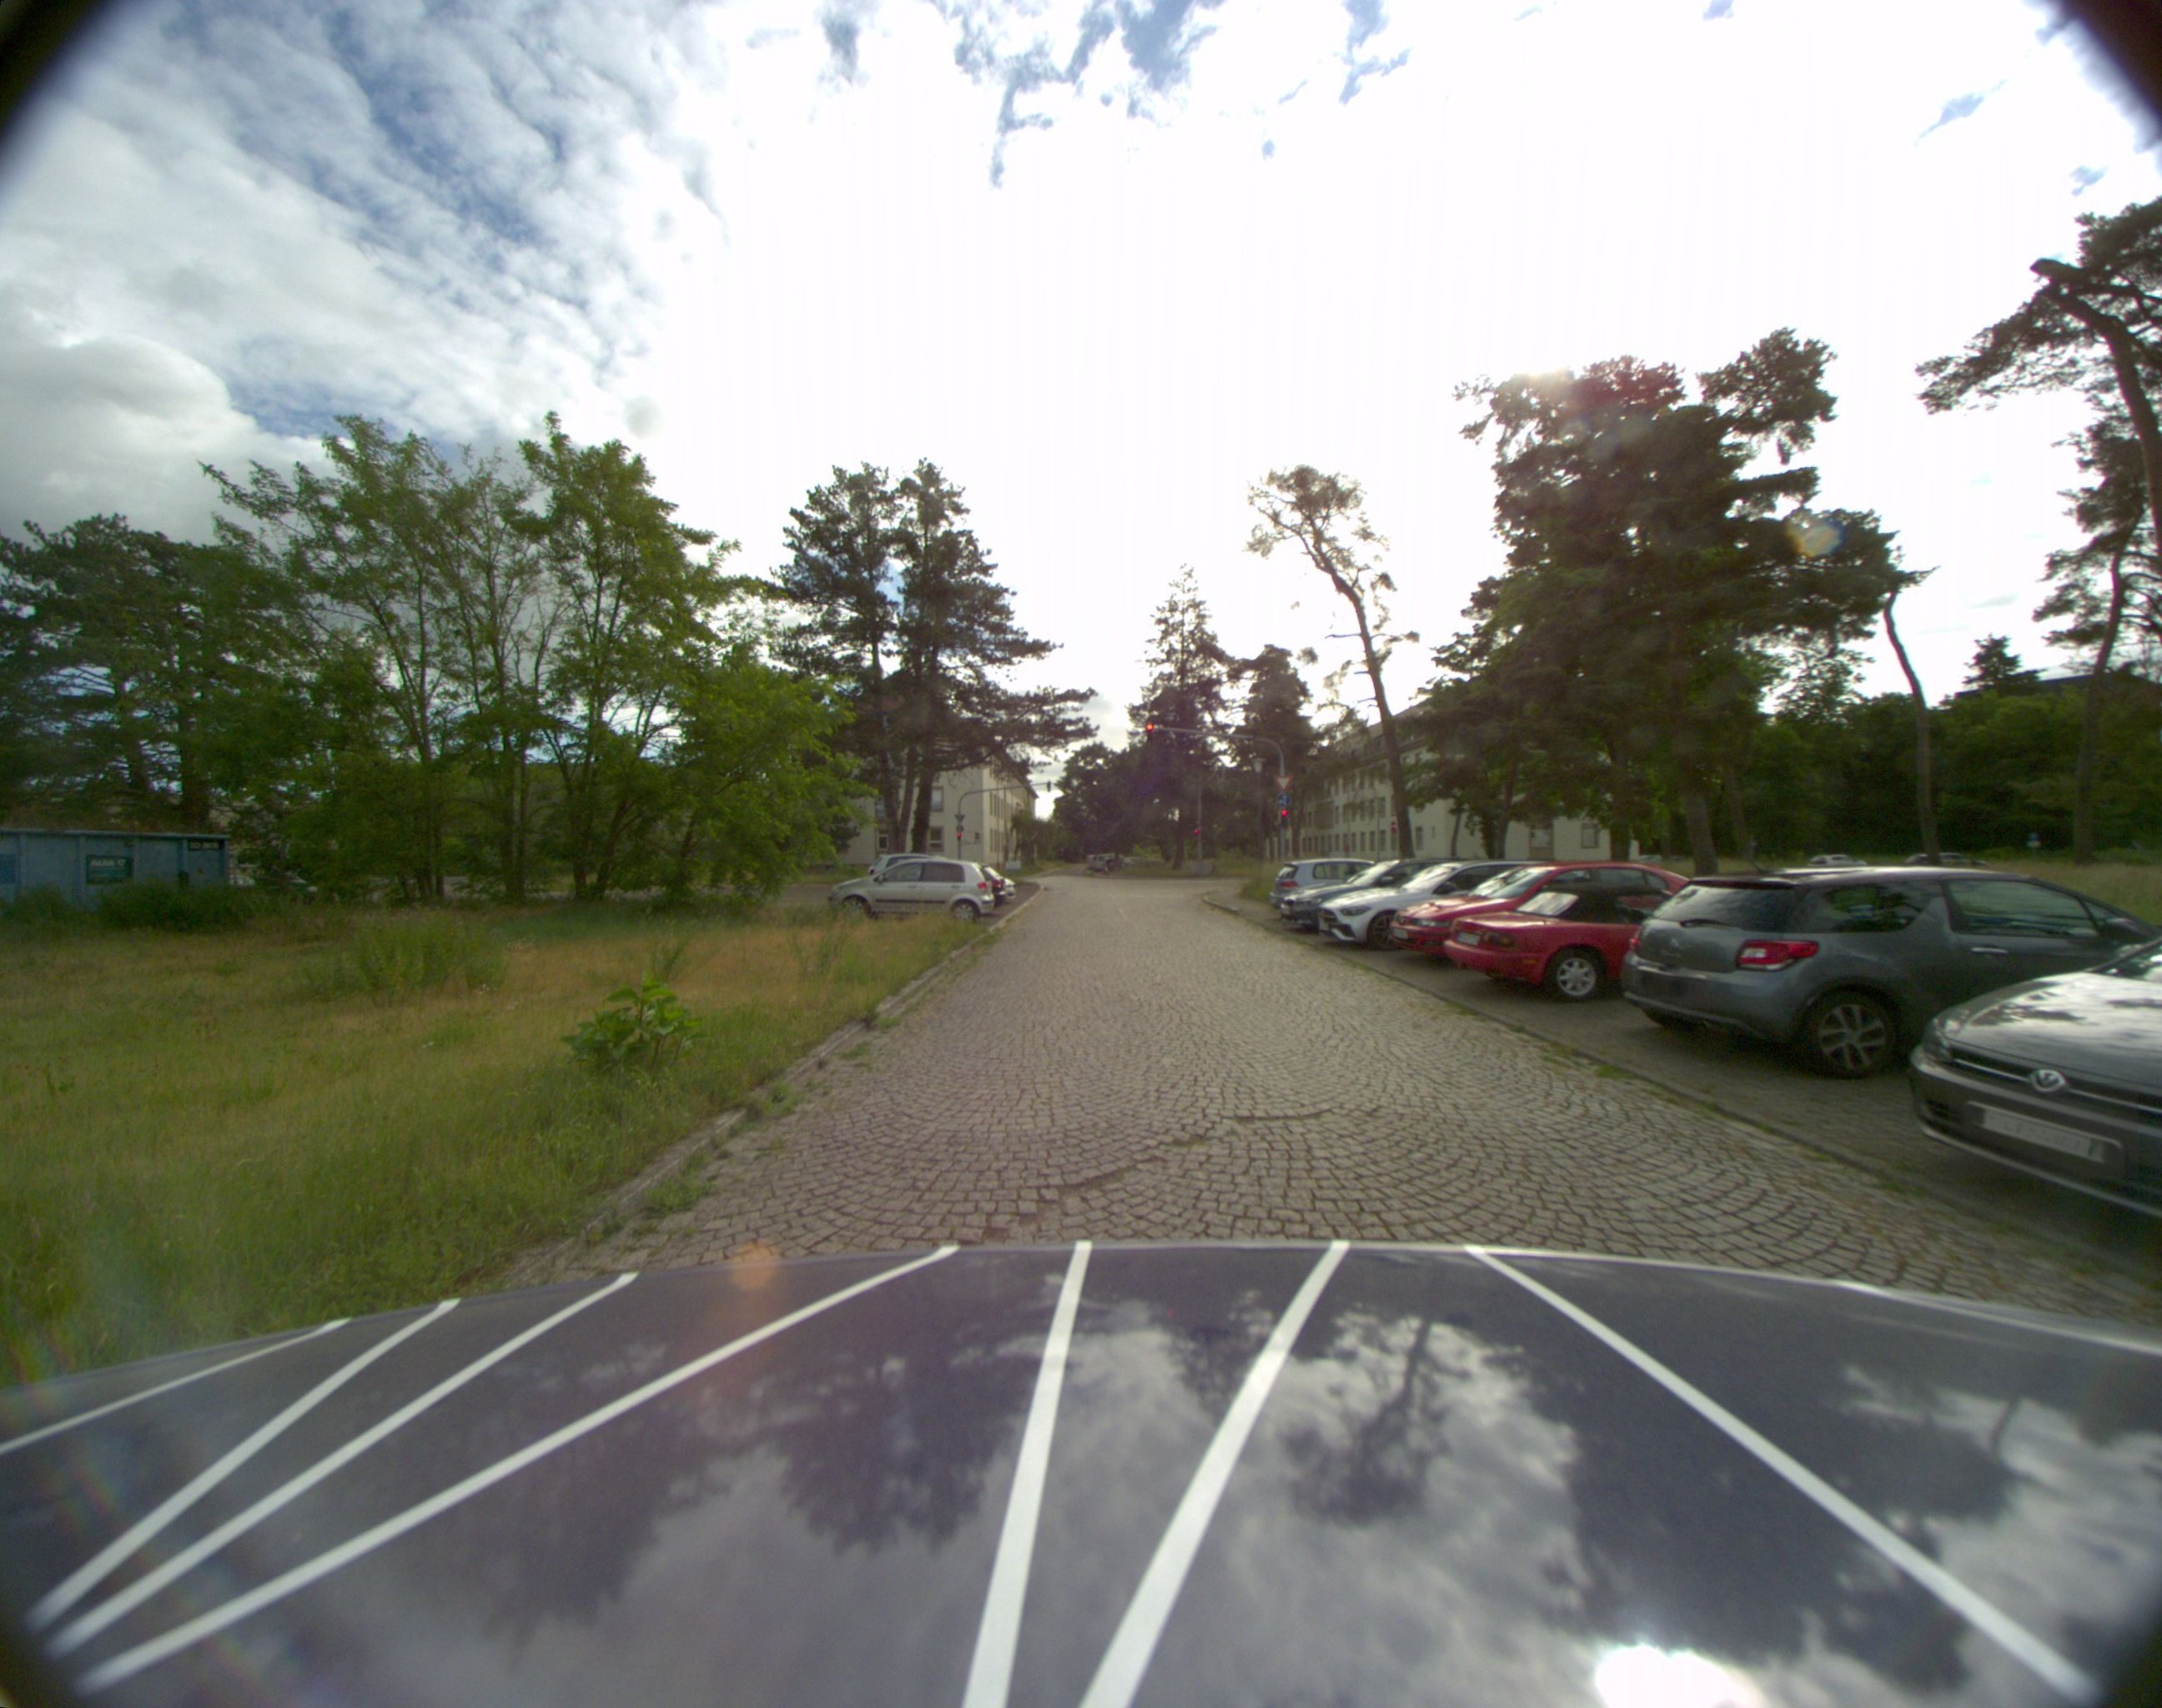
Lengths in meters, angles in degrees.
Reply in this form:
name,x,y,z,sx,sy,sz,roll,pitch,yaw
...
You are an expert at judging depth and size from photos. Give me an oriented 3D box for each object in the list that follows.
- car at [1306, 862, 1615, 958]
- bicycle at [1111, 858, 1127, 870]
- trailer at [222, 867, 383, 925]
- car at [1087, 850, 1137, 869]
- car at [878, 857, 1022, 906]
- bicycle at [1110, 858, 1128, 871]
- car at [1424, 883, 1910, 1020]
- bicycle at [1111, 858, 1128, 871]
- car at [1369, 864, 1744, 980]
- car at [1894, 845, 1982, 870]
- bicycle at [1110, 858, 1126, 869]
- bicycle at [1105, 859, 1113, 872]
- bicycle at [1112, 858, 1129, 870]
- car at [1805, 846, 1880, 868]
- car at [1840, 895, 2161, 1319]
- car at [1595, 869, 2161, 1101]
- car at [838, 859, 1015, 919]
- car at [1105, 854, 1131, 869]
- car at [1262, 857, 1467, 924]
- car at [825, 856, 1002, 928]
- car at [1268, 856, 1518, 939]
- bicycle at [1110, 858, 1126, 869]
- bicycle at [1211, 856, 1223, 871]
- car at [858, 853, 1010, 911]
name,x,y,z,sx,sy,sz,roll,pitch,yaw
car,6.447,0.923,13.329,4.447,1.447,1.949,-1,1,1
bicycle,3.523,0.895,70.557,1.457,1.033,0.497,-3,1,-4
trailer,-17.224,0.909,16.869,2.319,1.163,1.143,-2,1,-1
car,3.449,0.589,85.560,5.173,1.905,2.034,-3,0,-13
car,-4.370,0.919,25.874,4.562,1.417,1.826,2,1,-2
bicycle,3.401,0.910,67.452,1.457,1.033,0.497,-3,1,-7
car,6.372,1.030,8.638,4.141,1.276,1.764,-1,0,1
bicycle,3.471,0.921,68.247,1.457,1.033,0.497,-3,1,-4
car,6.655,0.917,11.016,4.264,1.447,1.855,-1,0,1
car,59.484,0.253,52.794,4.054,1.601,1.716,-1,2,3
bicycle,3.553,0.906,73.689,1.457,1.033,0.497,-3,1,-4
bicycle,2.370,0.967,64.465,0.497,1.068,1.416,-3,1,0
bicycle,3.609,0.922,69.281,1.457,1.033,0.497,-3,1,-4
car,60.272,0.249,60.191,4.053,1.601,1.717,-1,2,4
car,6.141,0.941,3.075,4.314,1.472,1.731,-1,0,2
car,6.688,0.903,5.951,4.098,1.472,1.755,-1,0,2
car,-4.075,0.913,20.605,4.377,1.397,1.796,2,-1,-1
car,3.989,0.815,82.218,2.771,1.407,1.592,-3,0,0
car,6.822,0.853,18.637,4.339,1.462,1.827,-1,1,2
car,-3.836,0.868,17.901,3.782,1.471,1.743,2,-1,-2
car,6.442,0.871,16.014,4.513,1.528,1.870,-1,1,-2
bicycle,3.531,0.895,72.640,1.457,1.033,0.497,-3,1,-4
bicycle,9.855,0.695,55.077,0.497,1.068,1.416,-3,1,-2
car,-4.411,0.829,23.296,4.342,1.565,1.826,2,1,-4
